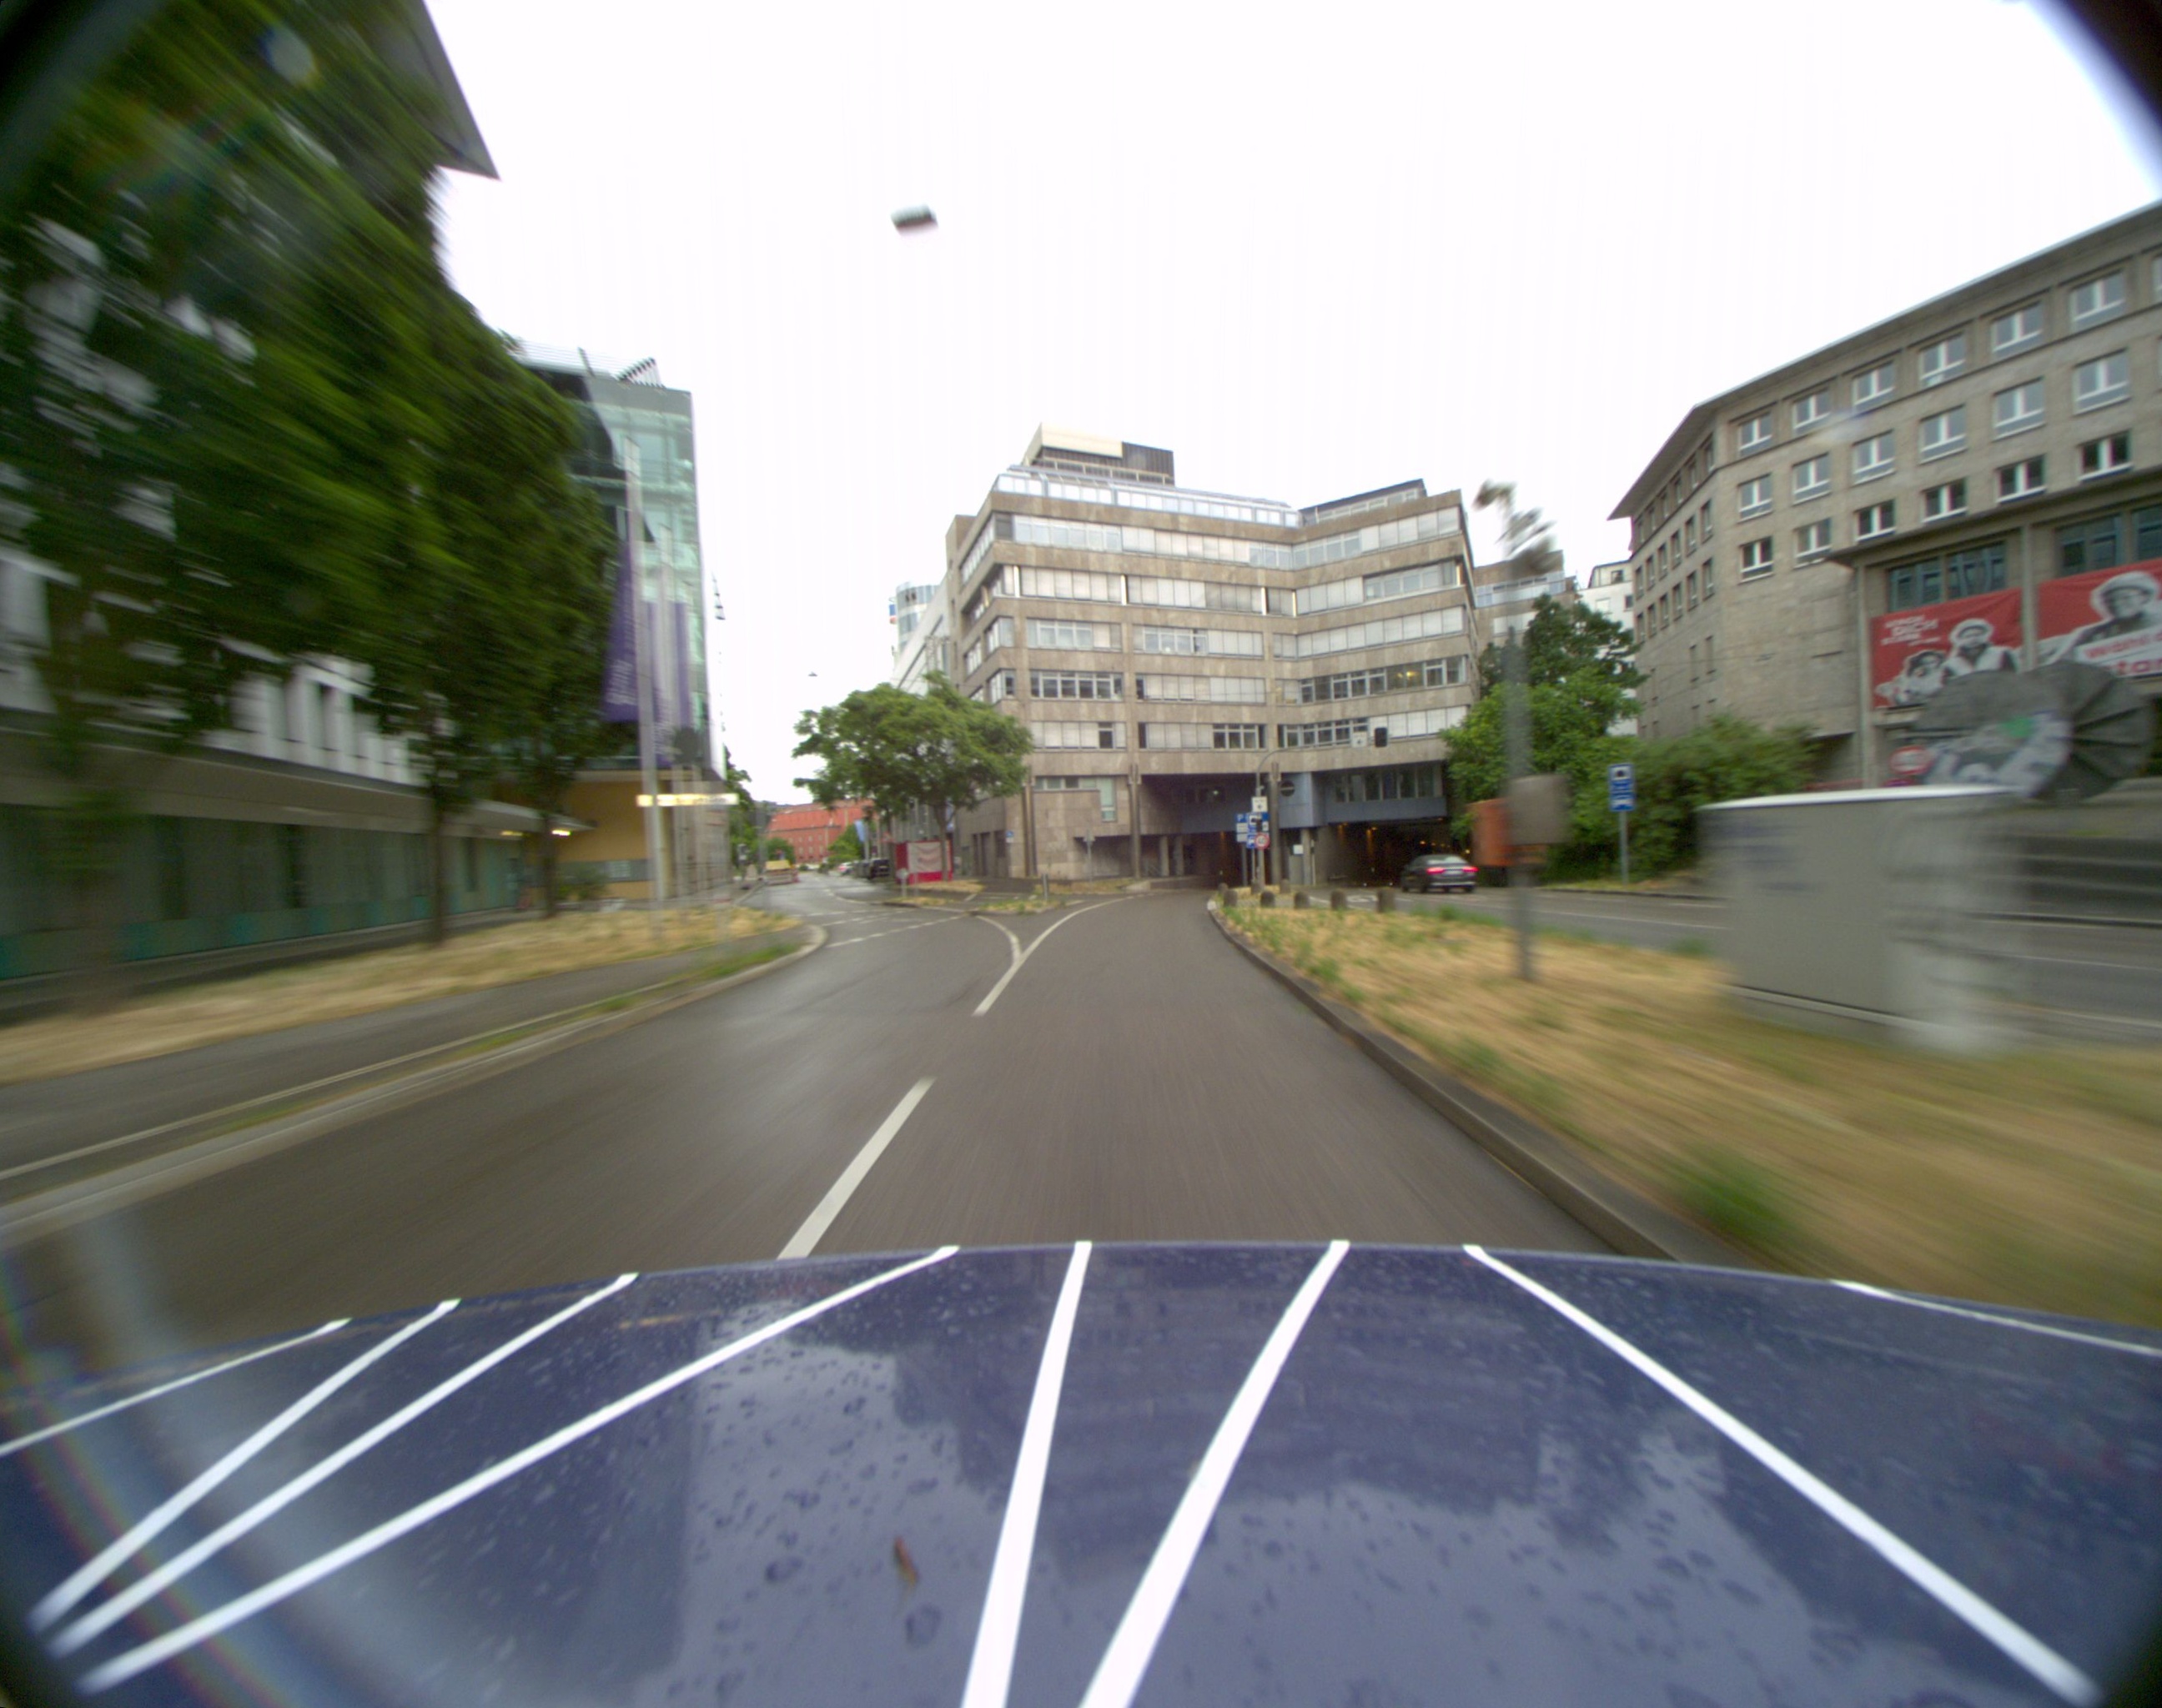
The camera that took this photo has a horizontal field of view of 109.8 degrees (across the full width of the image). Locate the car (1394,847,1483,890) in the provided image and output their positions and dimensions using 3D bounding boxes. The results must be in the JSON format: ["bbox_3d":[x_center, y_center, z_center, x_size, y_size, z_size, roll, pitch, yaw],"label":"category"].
[{"bbox_3d":[13.775,0.513,29.585,1.997,1.484,4.846,-2,0,11],"label":"car"}]

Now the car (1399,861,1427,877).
[{"bbox_3d":[33.353,1.533,76.263,1.846,1.578,4.399,-1,-2,33],"label":"car"}]

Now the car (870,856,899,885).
[{"bbox_3d":[-15.376,1.271,59.417,2.001,2.068,3.995,-4,1,-15],"label":"car"}]

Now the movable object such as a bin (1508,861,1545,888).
[{"bbox_3d":[24.918,1.143,42.536,1.298,1.442,1.205,-2,0,-22],"label":"movable object such as a bin"}]

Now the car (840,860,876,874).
[{"bbox_3d":[-26.914,1.528,91.811,3.778,1.641,1.795,-1,-1,-34],"label":"car"}]

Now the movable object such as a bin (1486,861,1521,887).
[{"bbox_3d":[24.359,1.165,43.828,1.169,1.442,1.337,-2,0,-30],"label":"movable object such as a bin"}]
